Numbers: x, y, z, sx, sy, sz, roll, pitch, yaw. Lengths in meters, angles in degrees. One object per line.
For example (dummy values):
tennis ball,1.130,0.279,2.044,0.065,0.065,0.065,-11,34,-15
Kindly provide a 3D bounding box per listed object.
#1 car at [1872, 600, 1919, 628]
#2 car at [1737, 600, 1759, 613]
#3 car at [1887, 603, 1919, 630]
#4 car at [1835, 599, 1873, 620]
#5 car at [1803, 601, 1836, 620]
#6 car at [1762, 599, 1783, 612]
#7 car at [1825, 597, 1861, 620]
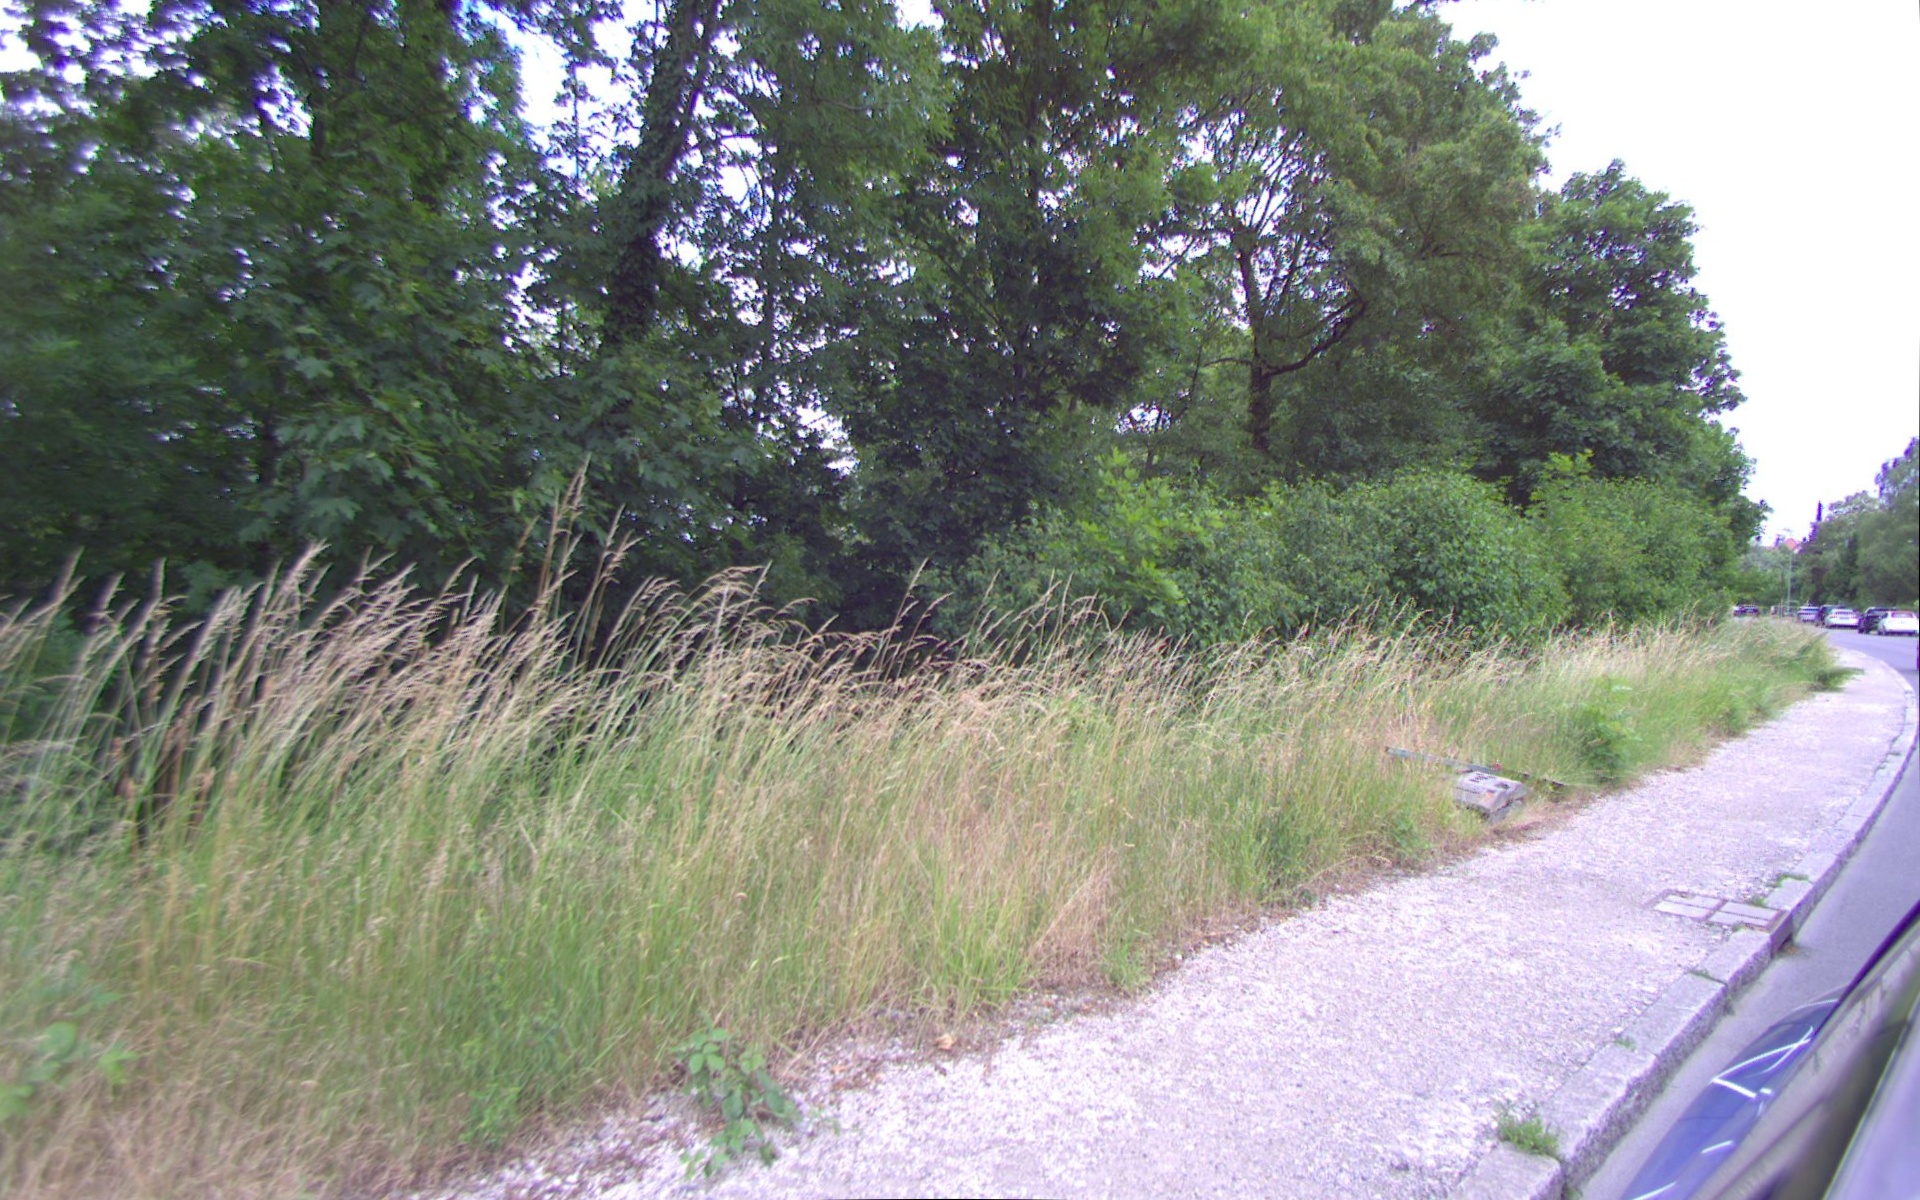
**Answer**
car,59.285,0.883,64.038,1.786,1.685,4.337,1,1,34
car,111.785,0.912,143.529,1.908,1.701,4.149,1,1,30
car,56.791,0.988,60.344,1.701,1.530,3.897,1,1,34
car,67.757,0.696,76.745,1.702,1.530,4.494,1,1,36
car,78.244,0.958,92.199,1.790,1.627,4.671,1,1,34
car,107.387,0.738,133.771,1.912,1.701,4.141,1,1,35
car,71.217,0.678,81.666,1.702,1.822,4.242,1,0,35
